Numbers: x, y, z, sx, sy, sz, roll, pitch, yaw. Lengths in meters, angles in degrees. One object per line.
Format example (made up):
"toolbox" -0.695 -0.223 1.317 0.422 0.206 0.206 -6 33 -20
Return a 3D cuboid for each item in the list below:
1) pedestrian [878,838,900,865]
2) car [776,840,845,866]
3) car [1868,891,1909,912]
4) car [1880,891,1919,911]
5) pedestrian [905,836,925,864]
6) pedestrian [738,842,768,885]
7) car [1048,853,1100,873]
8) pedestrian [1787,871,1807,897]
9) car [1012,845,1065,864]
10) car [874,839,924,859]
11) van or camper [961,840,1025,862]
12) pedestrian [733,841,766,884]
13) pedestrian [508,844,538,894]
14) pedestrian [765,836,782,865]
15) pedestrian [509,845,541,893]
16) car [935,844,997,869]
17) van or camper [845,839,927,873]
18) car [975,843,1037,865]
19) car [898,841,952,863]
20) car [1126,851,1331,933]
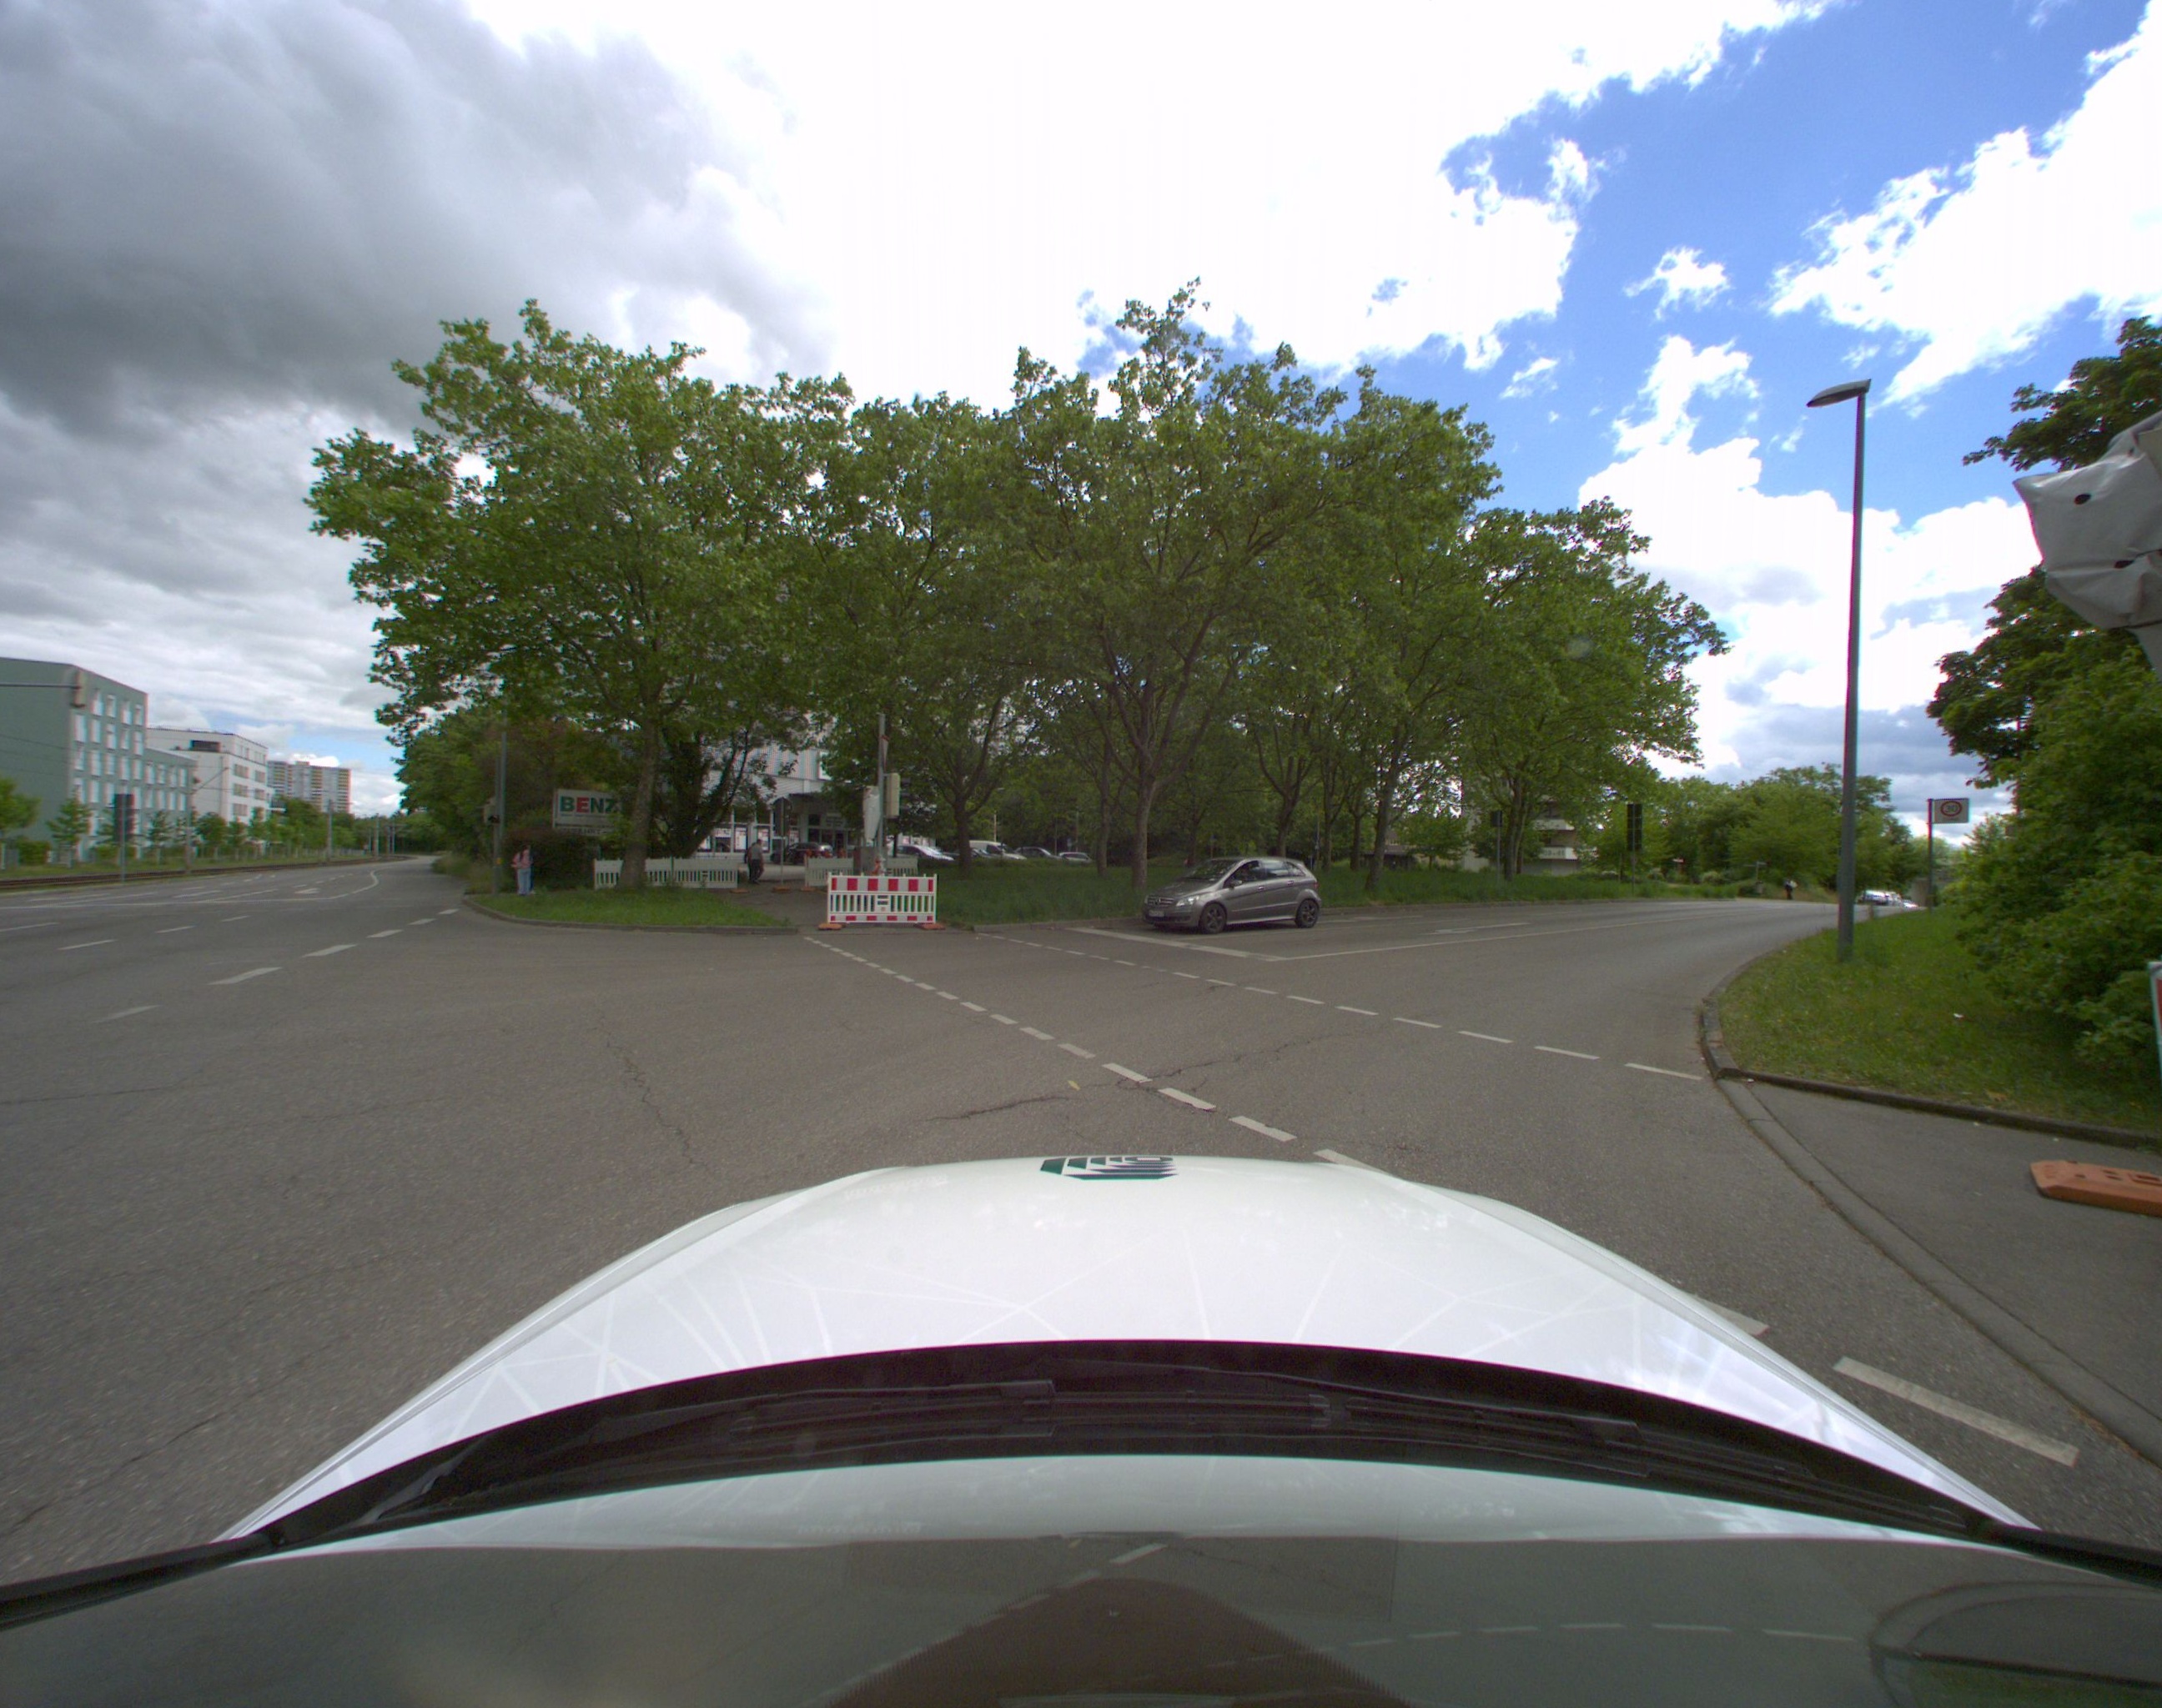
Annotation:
"pedestrian" -13.249 -0.177 56.198 1.081 1.871 1.047 1 -1 -40
"car" -16.780 -0.039 50.476 4.214 1.500 1.745 0 -1 32
"car" 61.469 3.594 61.985 3.954 1.500 1.751 2 -2 -39
"car" 65.191 3.716 64.845 3.953 1.500 1.751 3 -3 -39
"pedestrian" -9.437 -0.221 46.242 0.800 1.586 0.790 1 -1 -40
"pedestrian" -12.021 0.355 29.856 0.763 1.539 0.659 -1 -1 28
"car" -0.553 0.719 63.617 3.696 1.500 1.745 0 -1 32
"pedestrian" 49.559 2.080 56.382 0.814 1.723 0.780 0 -1 18
"car" -2.958 0.051 56.114 3.208 1.255 1.705 0 -1 27
"car" -13.257 -0.315 59.376 3.366 1.404 1.494 0 -1 27
"van or camper" -5.504 -0.160 50.826 3.729 1.356 1.527 0 -1 25
"pedestrian" -12.613 0.331 30.972 0.786 1.586 0.856 -1 -1 37
"pedestrian" -17.066 0.451 24.922 0.690 1.489 0.693 1 -1 -29
"pedestrian" -18.807 -0.205 49.823 0.730 1.745 0.624 -1 -1 32
"pedestrian" -17.429 0.475 25.539 0.722 1.489 0.693 1 -1 -28
"car" -6.784 0.163 47.896 3.365 1.404 1.494 0 -1 29
"van or camper" -10.162 0.066 42.338 3.949 1.684 1.858 0 0 31
"car" -4.926 0.015 53.662 3.843 1.465 1.494 0 -1 27
"car" -11.912 -0.146 62.198 3.773 1.634 1.683 1 0 28
"car" 3.266 0.767 17.734 4.428 1.586 1.754 1 -1 -33
